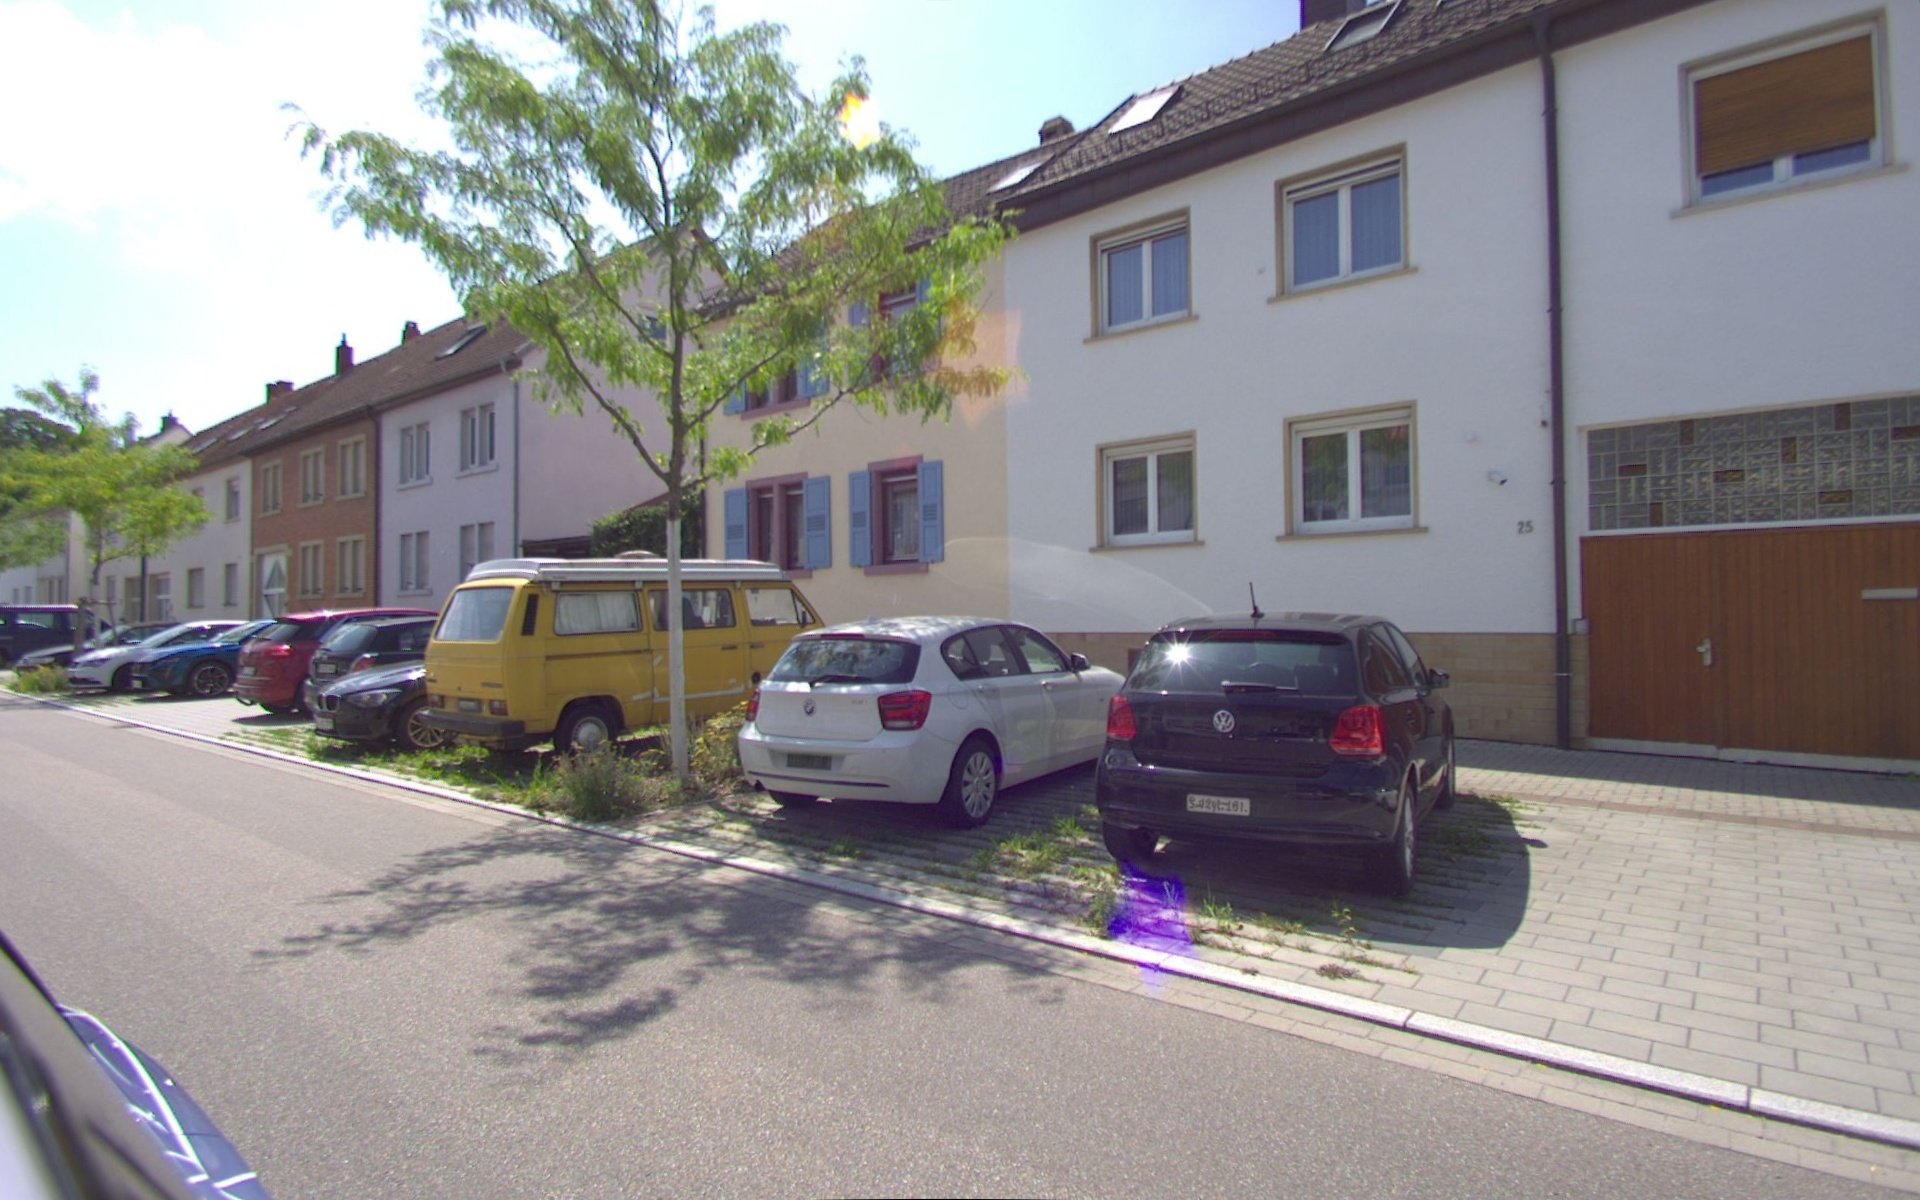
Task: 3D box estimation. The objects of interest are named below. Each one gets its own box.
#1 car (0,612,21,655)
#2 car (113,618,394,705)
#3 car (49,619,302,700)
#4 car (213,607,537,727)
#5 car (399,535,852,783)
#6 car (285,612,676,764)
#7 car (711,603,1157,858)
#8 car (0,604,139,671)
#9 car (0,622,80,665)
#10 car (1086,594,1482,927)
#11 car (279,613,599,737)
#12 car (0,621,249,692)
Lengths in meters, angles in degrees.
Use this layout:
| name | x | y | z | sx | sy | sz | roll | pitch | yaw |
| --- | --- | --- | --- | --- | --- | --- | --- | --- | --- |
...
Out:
| name | x | y | z | sx | sy | sz | roll | pitch | yaw |
| --- | --- | --- | --- | --- | --- | --- | --- | --- | --- |
| car | -45.787 | 1.587 | 45.769 | 1.998 | 1.921 | 4.630 | -1 | 1 | 39 |
| car | -14.208 | 1.156 | 20.601 | 1.772 | 1.489 | 4.365 | -1 | 0 | 35 |
| car | -16.872 | 1.209 | 21.946 | 1.772 | 1.489 | 4.017 | -1 | 0 | 36 |
| car | -9.366 | 0.972 | 16.505 | 1.840 | 1.623 | 4.212 | -1 | 0 | 38 |
| car | -3.484 | 0.514 | 11.293 | 1.923 | 2.194 | 4.464 | -1 | 0 | 39 |
| car | -5.685 | 0.931 | 12.400 | 1.753 | 1.470 | 3.971 | -1 | 0 | 39 |
| car | 0.070 | 0.801 | 8.236 | 1.747 | 1.479 | 4.043 | -1 | 0 | 31 |
| car | -29.384 | 1.183 | 32.391 | 1.952 | 2.011 | 4.565 | -1 | 0 | 41 |
| car | -34.902 | 1.595 | 37.027 | 1.771 | 1.500 | 3.876 | -1 | 0 | 41 |
| car | 2.355 | 0.713 | 6.606 | 1.653 | 1.479 | 3.851 | -1 | 0 | 31 |
| car | -7.405 | 0.973 | 14.688 | 1.752 | 1.470 | 3.757 | -1 | 0 | 36 |
| car | -20.042 | 1.280 | 24.356 | 1.794 | 1.436 | 4.480 | -1 | 0 | 39 |
